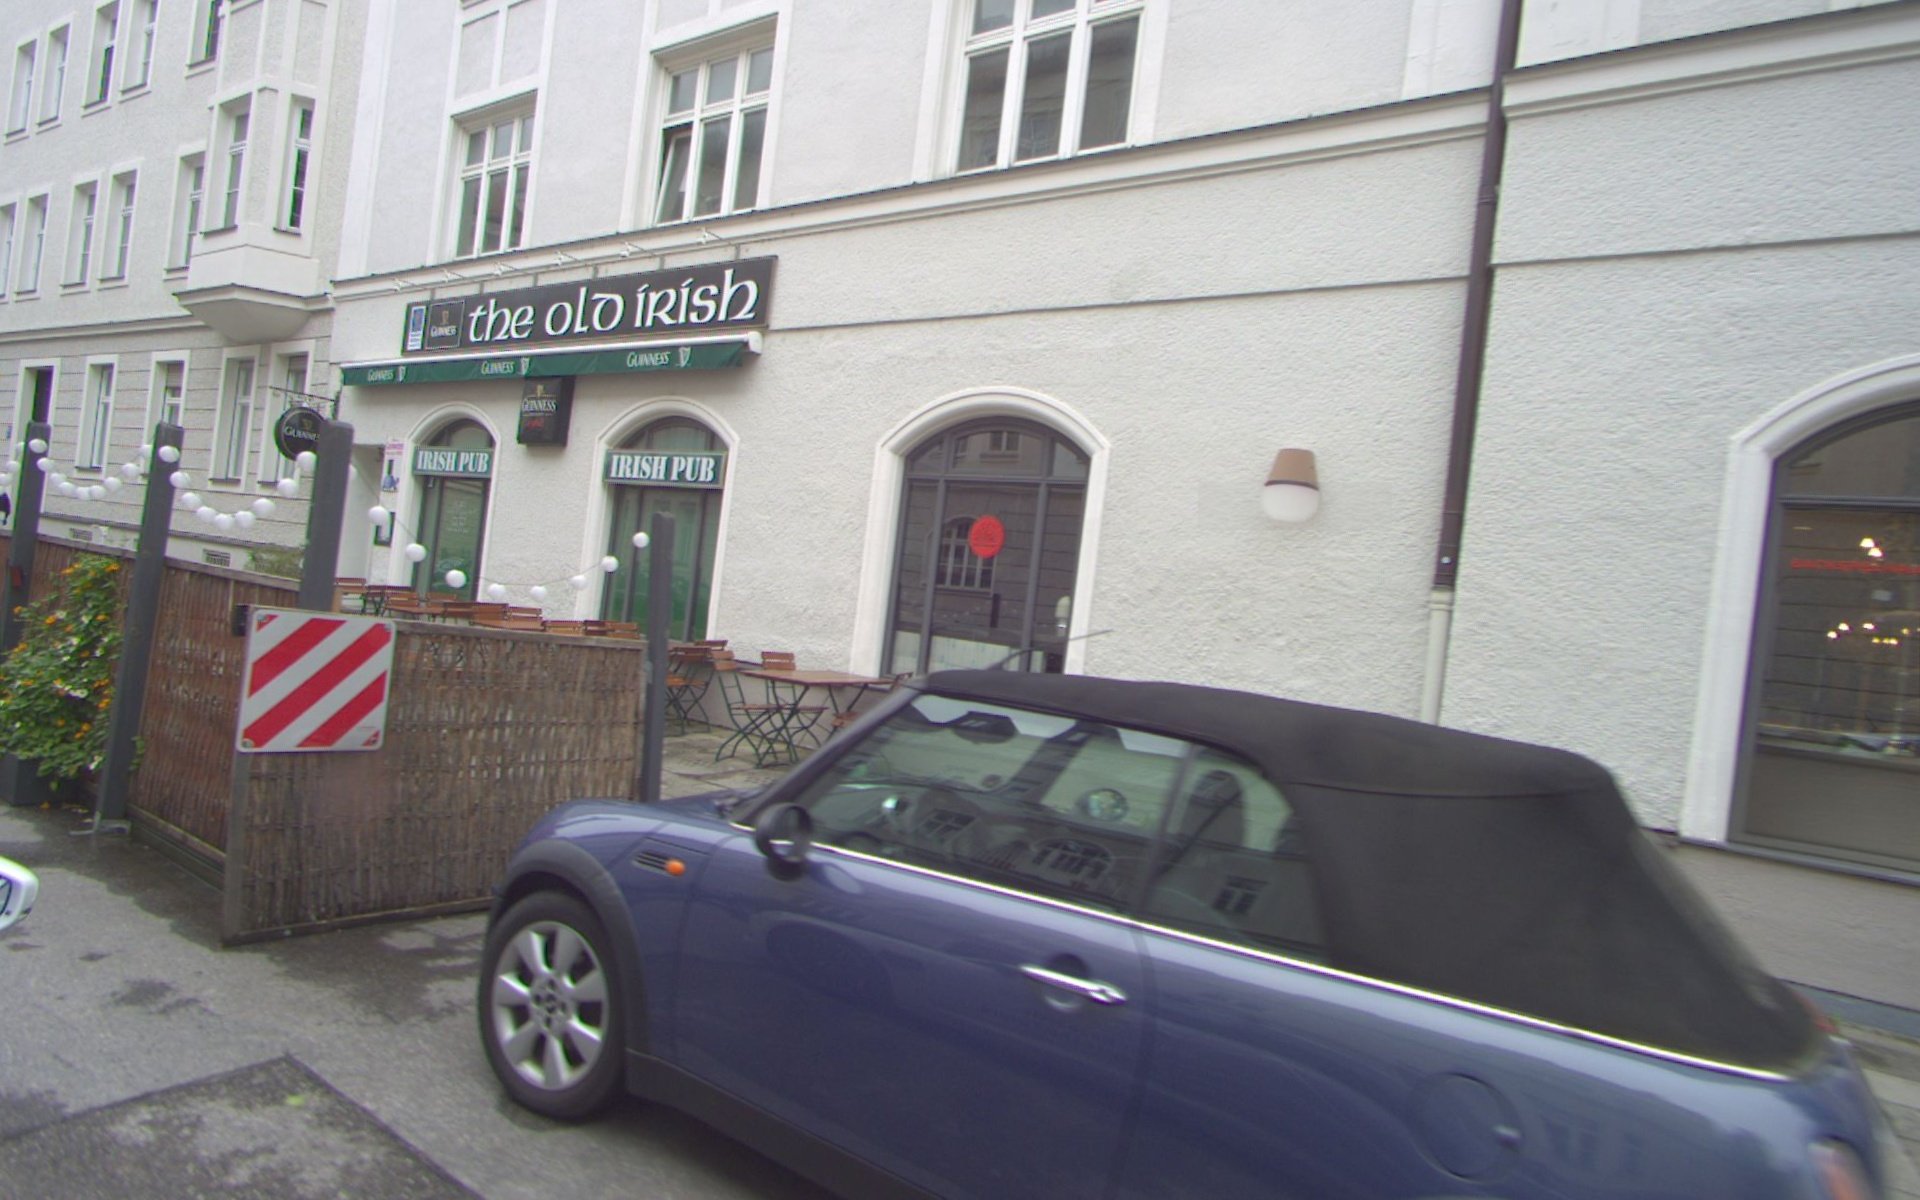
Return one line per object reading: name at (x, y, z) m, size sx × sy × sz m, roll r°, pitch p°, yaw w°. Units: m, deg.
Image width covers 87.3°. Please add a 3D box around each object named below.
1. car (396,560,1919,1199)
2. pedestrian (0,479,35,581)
car at (0.238, 0.857, 2.833) m, size 3.436 × 1.415 × 1.670 m, roll 7°, pitch -3°, yaw 34°
pedestrian at (-17.925, -1.349, 18.585) m, size 1.094 × 1.808 × 0.883 m, roll 7°, pitch -1°, yaw 36°
